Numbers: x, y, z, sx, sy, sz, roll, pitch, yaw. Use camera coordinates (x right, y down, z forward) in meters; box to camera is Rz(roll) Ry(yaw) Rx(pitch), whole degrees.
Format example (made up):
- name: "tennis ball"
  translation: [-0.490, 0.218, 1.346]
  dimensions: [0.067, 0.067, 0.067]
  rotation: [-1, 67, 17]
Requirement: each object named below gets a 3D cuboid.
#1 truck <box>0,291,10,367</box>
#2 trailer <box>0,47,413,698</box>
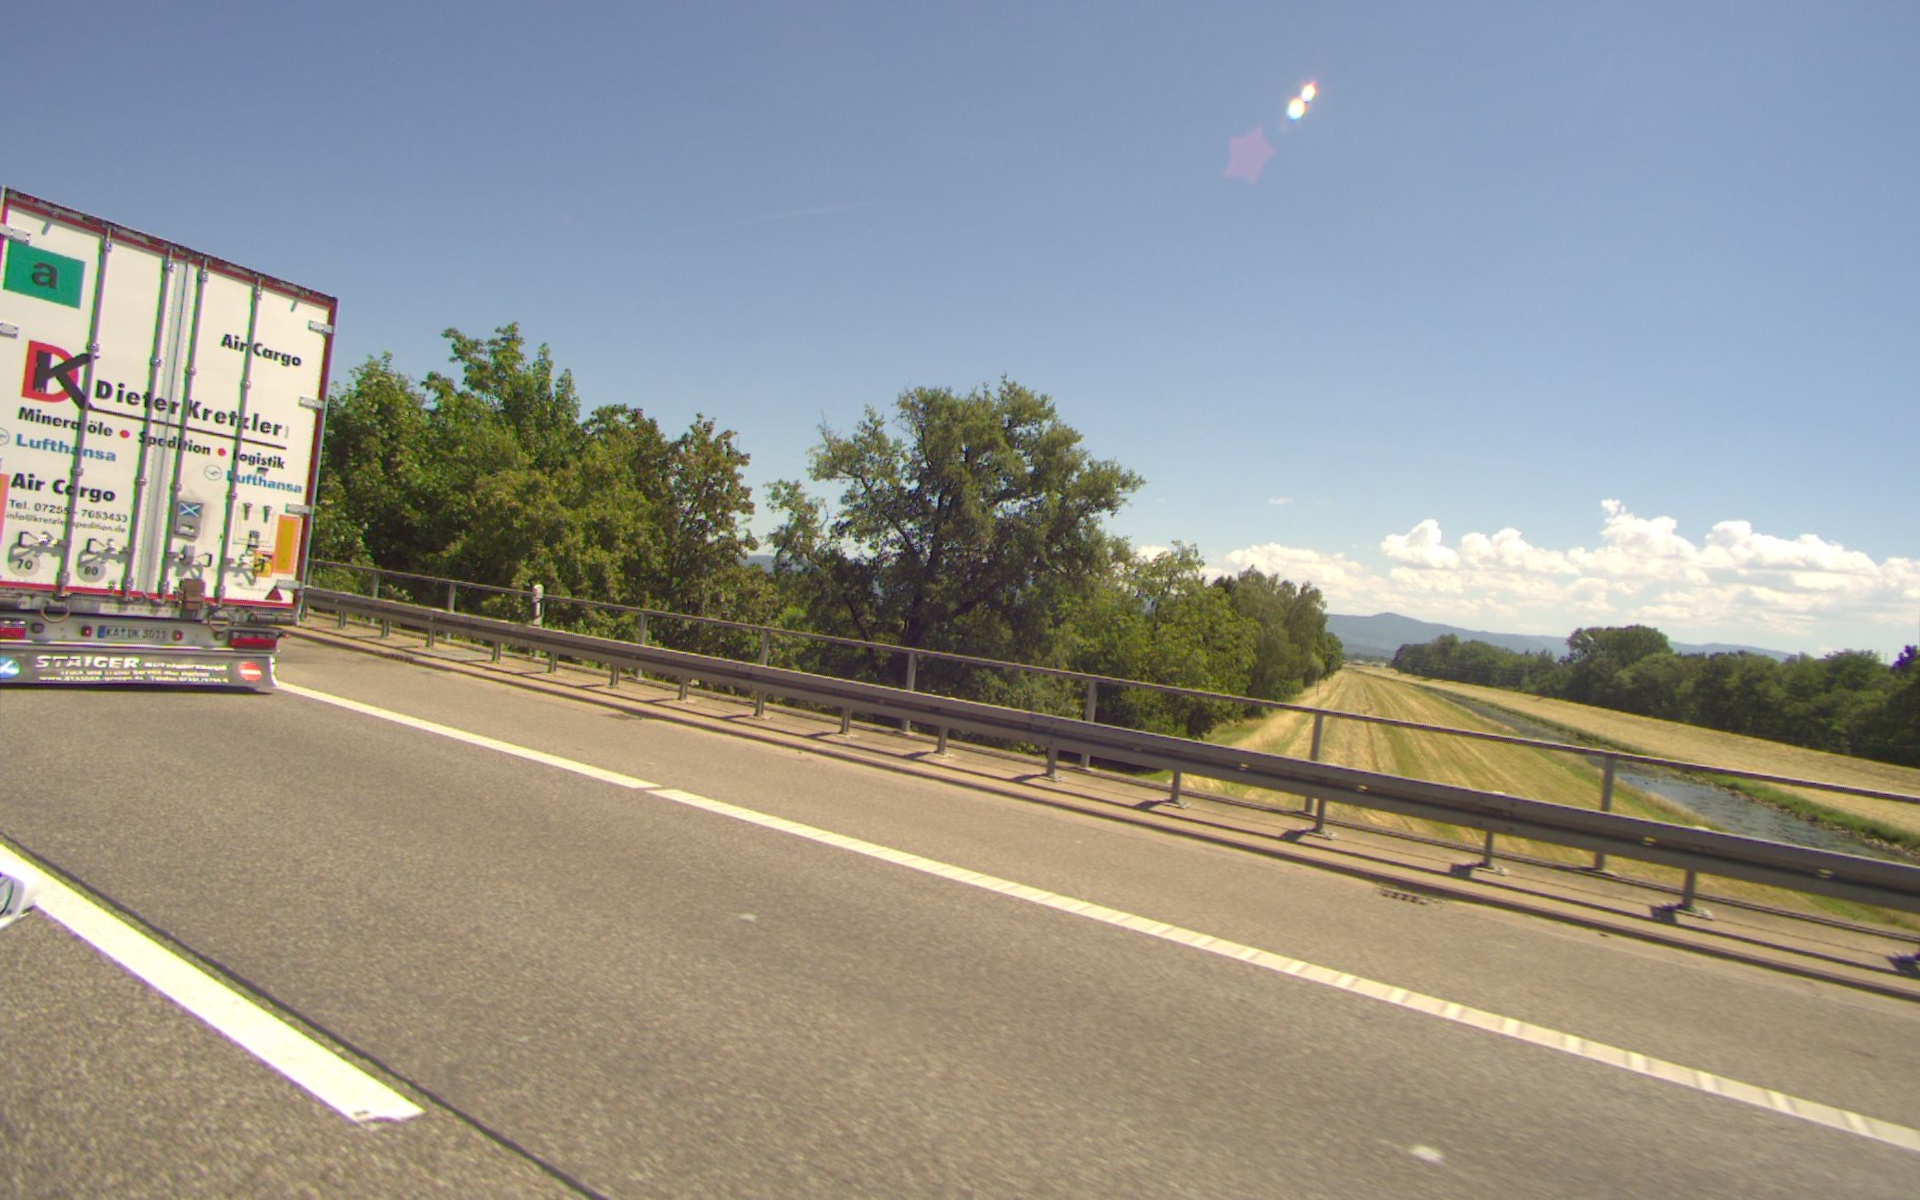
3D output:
- name: "truck"
  translation: [-19.720, -3.112, 17.028]
  dimensions: [6.856, 4.946, 3.240]
  rotation: [7, -1, 32]
- name: "trailer"
  translation: [-12.561, -2.290, 12.544]
  dimensions: [13.796, 4.894, 3.275]
  rotation: [7, -1, 32]
